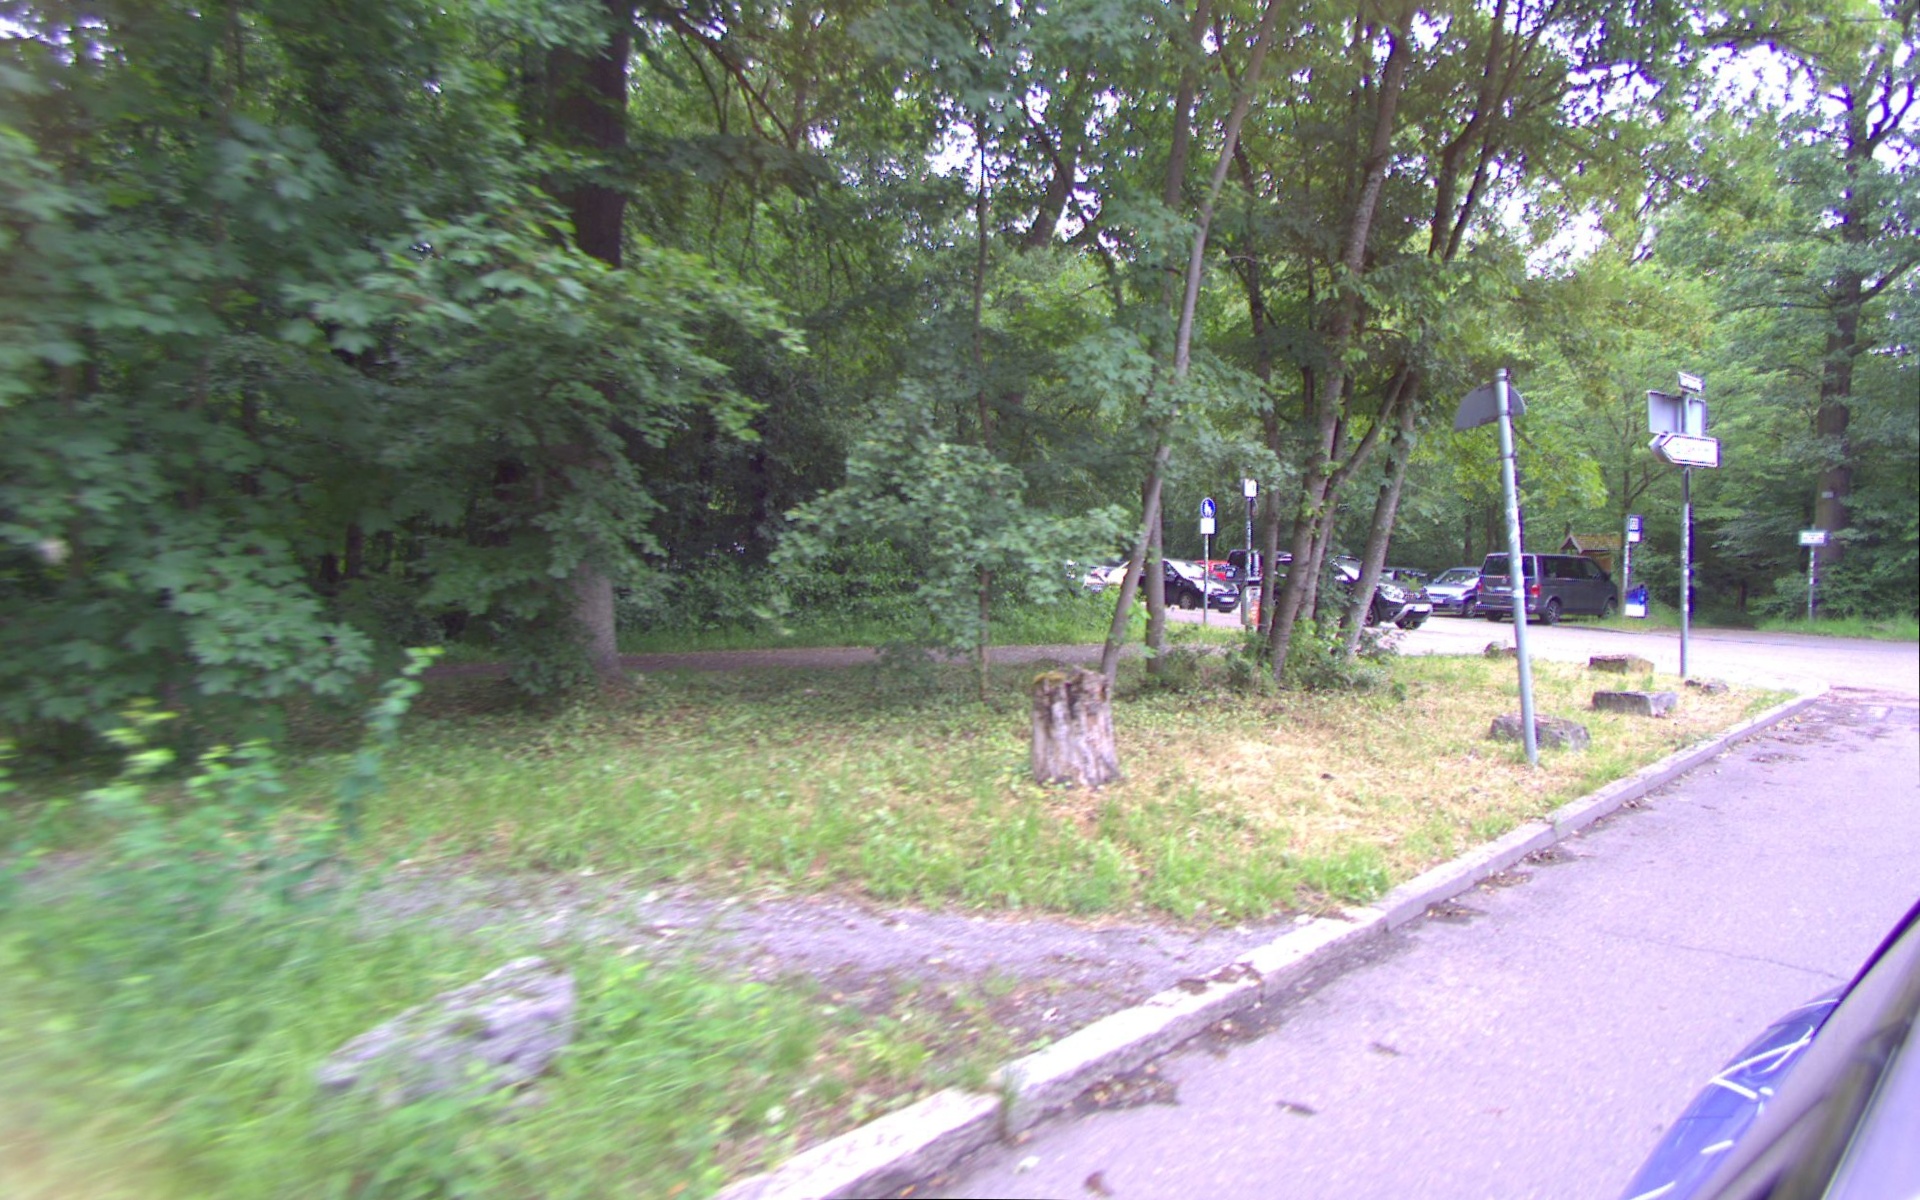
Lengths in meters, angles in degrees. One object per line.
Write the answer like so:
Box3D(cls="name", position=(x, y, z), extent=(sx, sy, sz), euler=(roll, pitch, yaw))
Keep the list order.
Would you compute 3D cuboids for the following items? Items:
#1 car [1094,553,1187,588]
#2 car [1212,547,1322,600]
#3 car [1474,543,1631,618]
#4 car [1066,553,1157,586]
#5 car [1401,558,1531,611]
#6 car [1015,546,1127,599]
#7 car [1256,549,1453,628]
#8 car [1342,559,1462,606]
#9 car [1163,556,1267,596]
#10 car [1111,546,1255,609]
Box3D(cls="car", position=(7.934, -1.320, 44.359), extent=(3.922, 1.455, 1.619), euler=(-1, 4, -32))
Box3D(cls="car", position=(11.487, -1.002, 37.821), extent=(3.922, 1.885, 1.815), euler=(0, 2, -33))
Box3D(cls="car", position=(16.978, -0.549, 28.963), extent=(4.426, 2.002, 1.894), euler=(0, 2, -30))
Box3D(cls="car", position=(6.919, -1.412, 46.229), extent=(3.922, 1.455, 1.735), euler=(-1, 4, -32))
Box3D(cls="car", position=(15.706, -0.477, 31.408), extent=(3.750, 1.531, 1.812), euler=(0, 2, -30))
Box3D(cls="car", position=(3.698, -0.980, 34.360), extent=(1.778, 1.653, 4.006), euler=(0, 3, -28))
Box3D(cls="car", position=(9.296, -0.344, 24.168), extent=(1.779, 1.653, 4.105), euler=(0, 3, -31))
Box3D(cls="car", position=(14.753, -0.587, 33.742), extent=(3.921, 1.447, 1.722), euler=(0, 2, -32))
Box3D(cls="car", position=(10.041, -0.939, 39.751), extent=(3.923, 1.494, 1.781), euler=(0, 2, -34))
Box3D(cls="car", position=(6.396, -0.701, 29.437), extent=(1.779, 1.653, 4.004), euler=(0, 3, -31))
